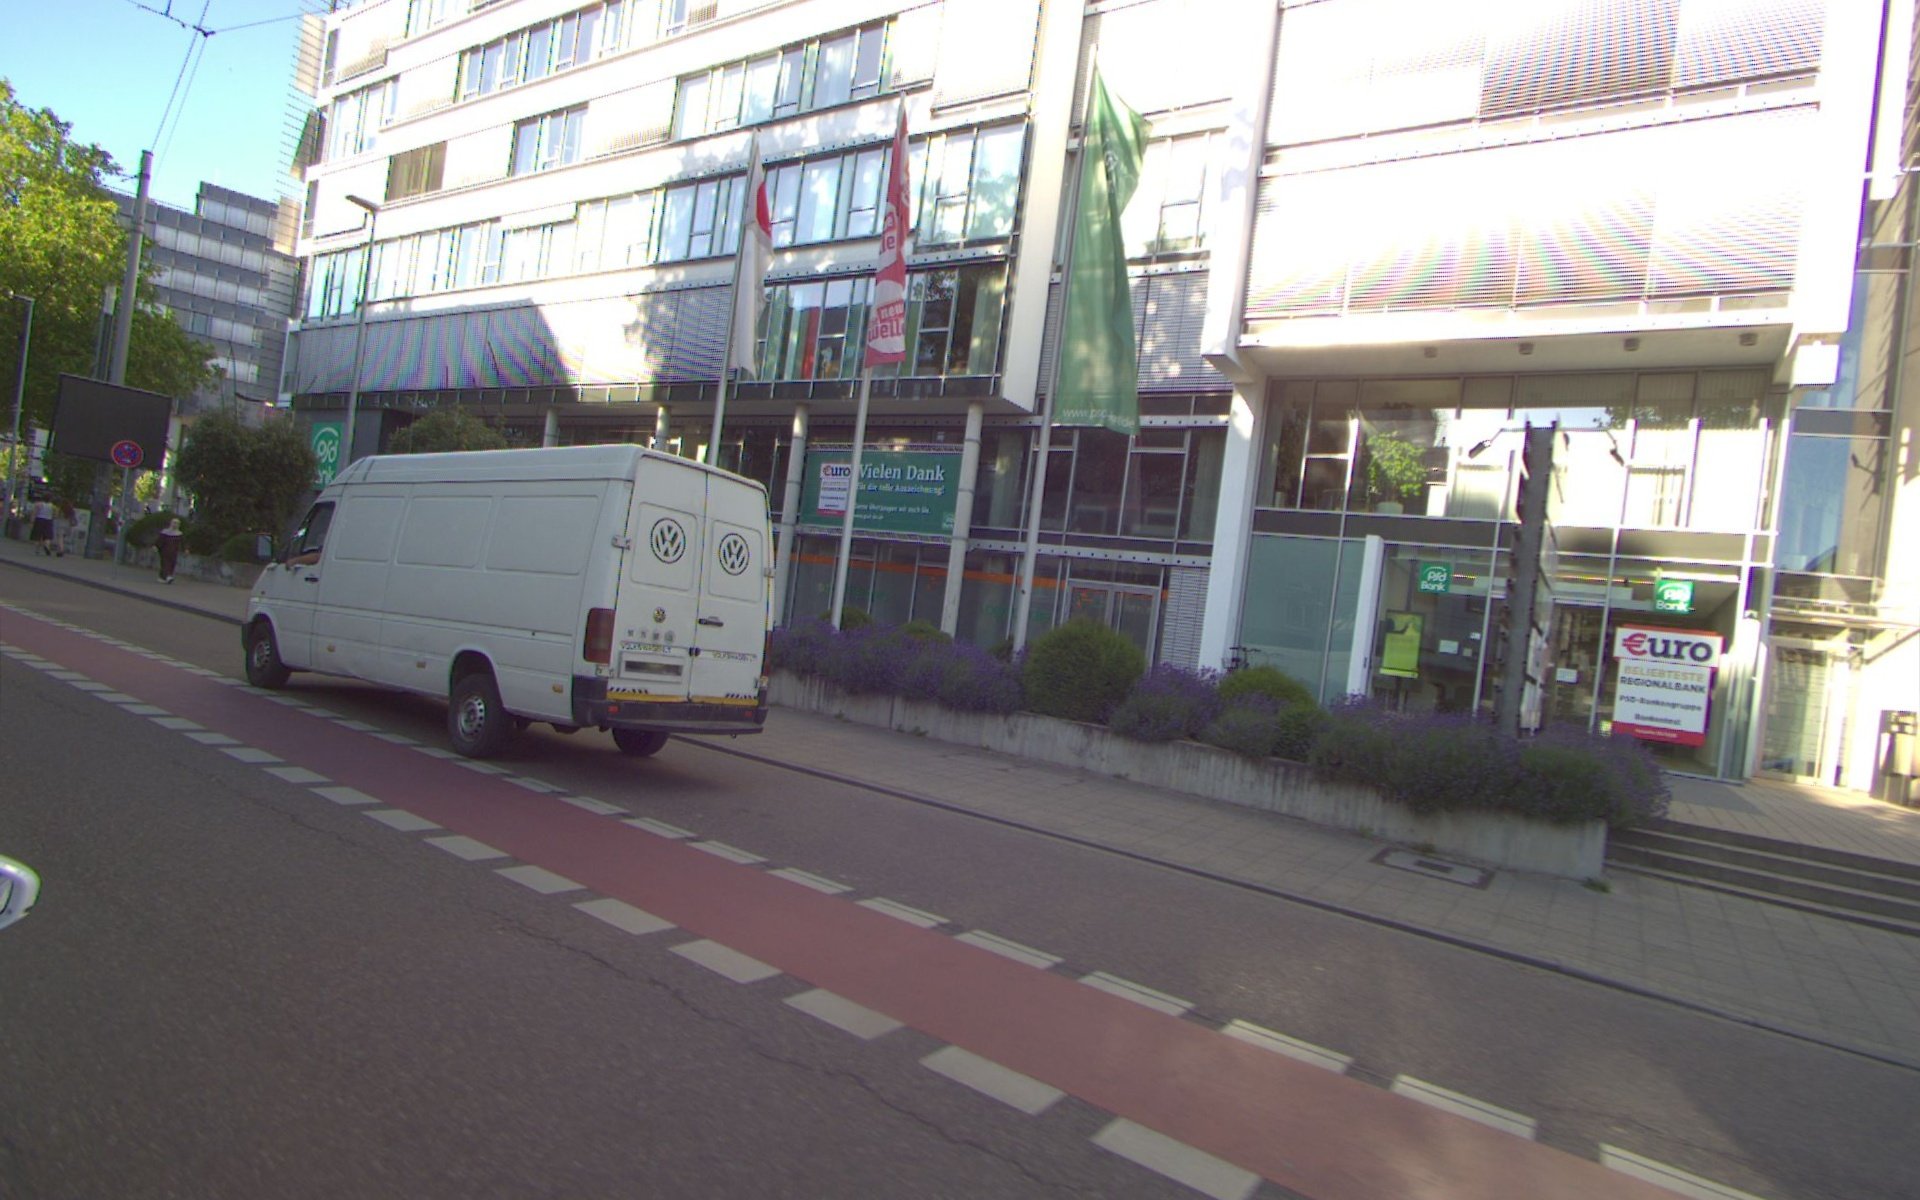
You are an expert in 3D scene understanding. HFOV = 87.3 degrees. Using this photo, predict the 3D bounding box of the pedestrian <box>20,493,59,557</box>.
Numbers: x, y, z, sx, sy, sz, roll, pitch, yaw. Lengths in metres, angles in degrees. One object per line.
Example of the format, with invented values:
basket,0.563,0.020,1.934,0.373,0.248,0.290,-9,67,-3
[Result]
pedestrian,-26.587,-2.160,29.058,0.892,1.725,0.564,7,3,32

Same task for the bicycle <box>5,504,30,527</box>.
bicycle,-48.368,-4.343,51.618,1.739,0.994,0.503,7,1,34

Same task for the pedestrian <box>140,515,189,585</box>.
pedestrian,-19.120,-1.201,24.183,0.711,1.601,0.642,7,4,29

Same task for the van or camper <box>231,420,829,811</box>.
van or camper,-4.411,-0.100,9.688,6.203,2.748,1.971,8,-1,34

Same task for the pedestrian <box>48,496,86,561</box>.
pedestrian,-26.288,-2.104,29.607,0.892,1.820,0.540,7,4,32
